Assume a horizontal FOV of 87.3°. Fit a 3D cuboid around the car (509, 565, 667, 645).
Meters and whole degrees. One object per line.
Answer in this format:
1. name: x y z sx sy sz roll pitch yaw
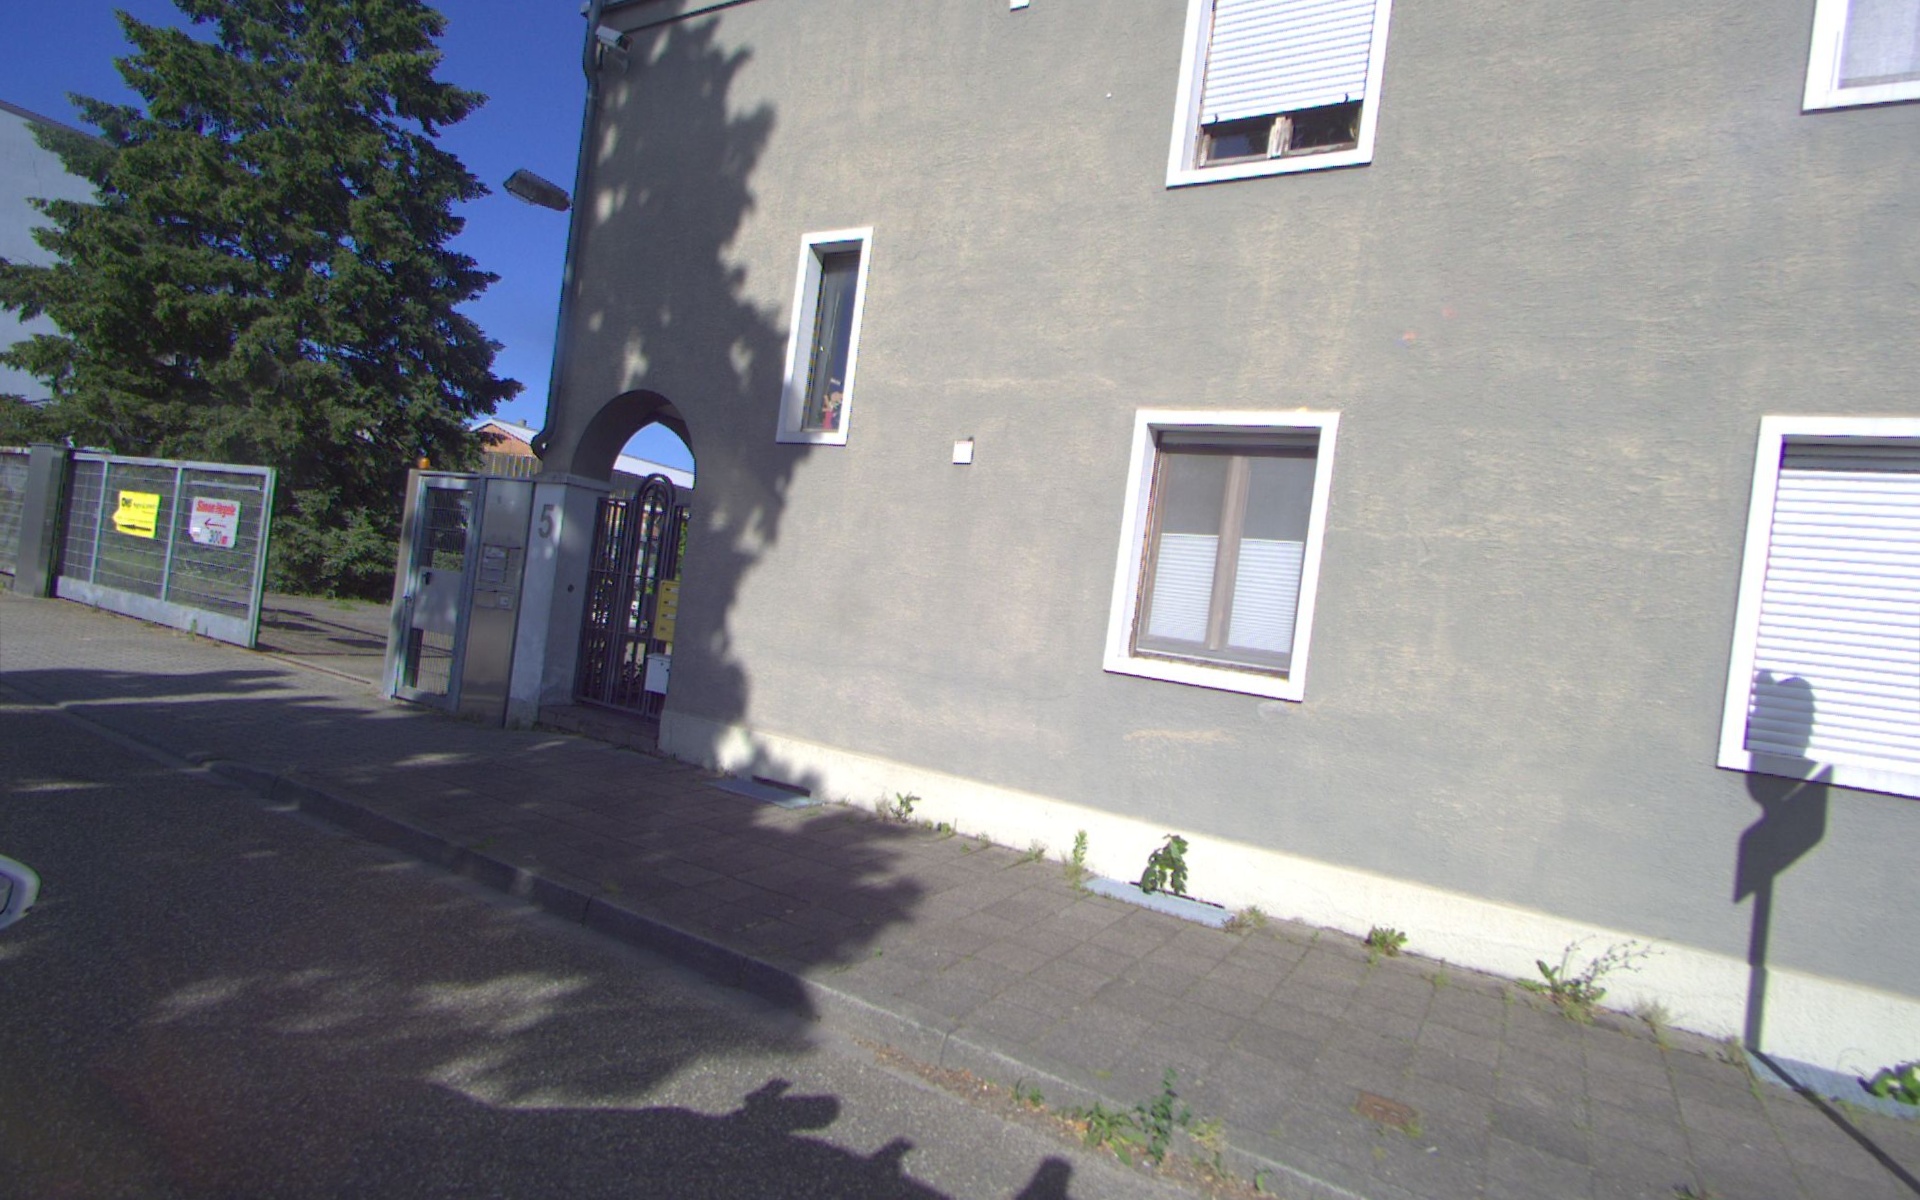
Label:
1. car: -10.112 0.108 27.217 4.229 1.583 1.864 7 -1 37
